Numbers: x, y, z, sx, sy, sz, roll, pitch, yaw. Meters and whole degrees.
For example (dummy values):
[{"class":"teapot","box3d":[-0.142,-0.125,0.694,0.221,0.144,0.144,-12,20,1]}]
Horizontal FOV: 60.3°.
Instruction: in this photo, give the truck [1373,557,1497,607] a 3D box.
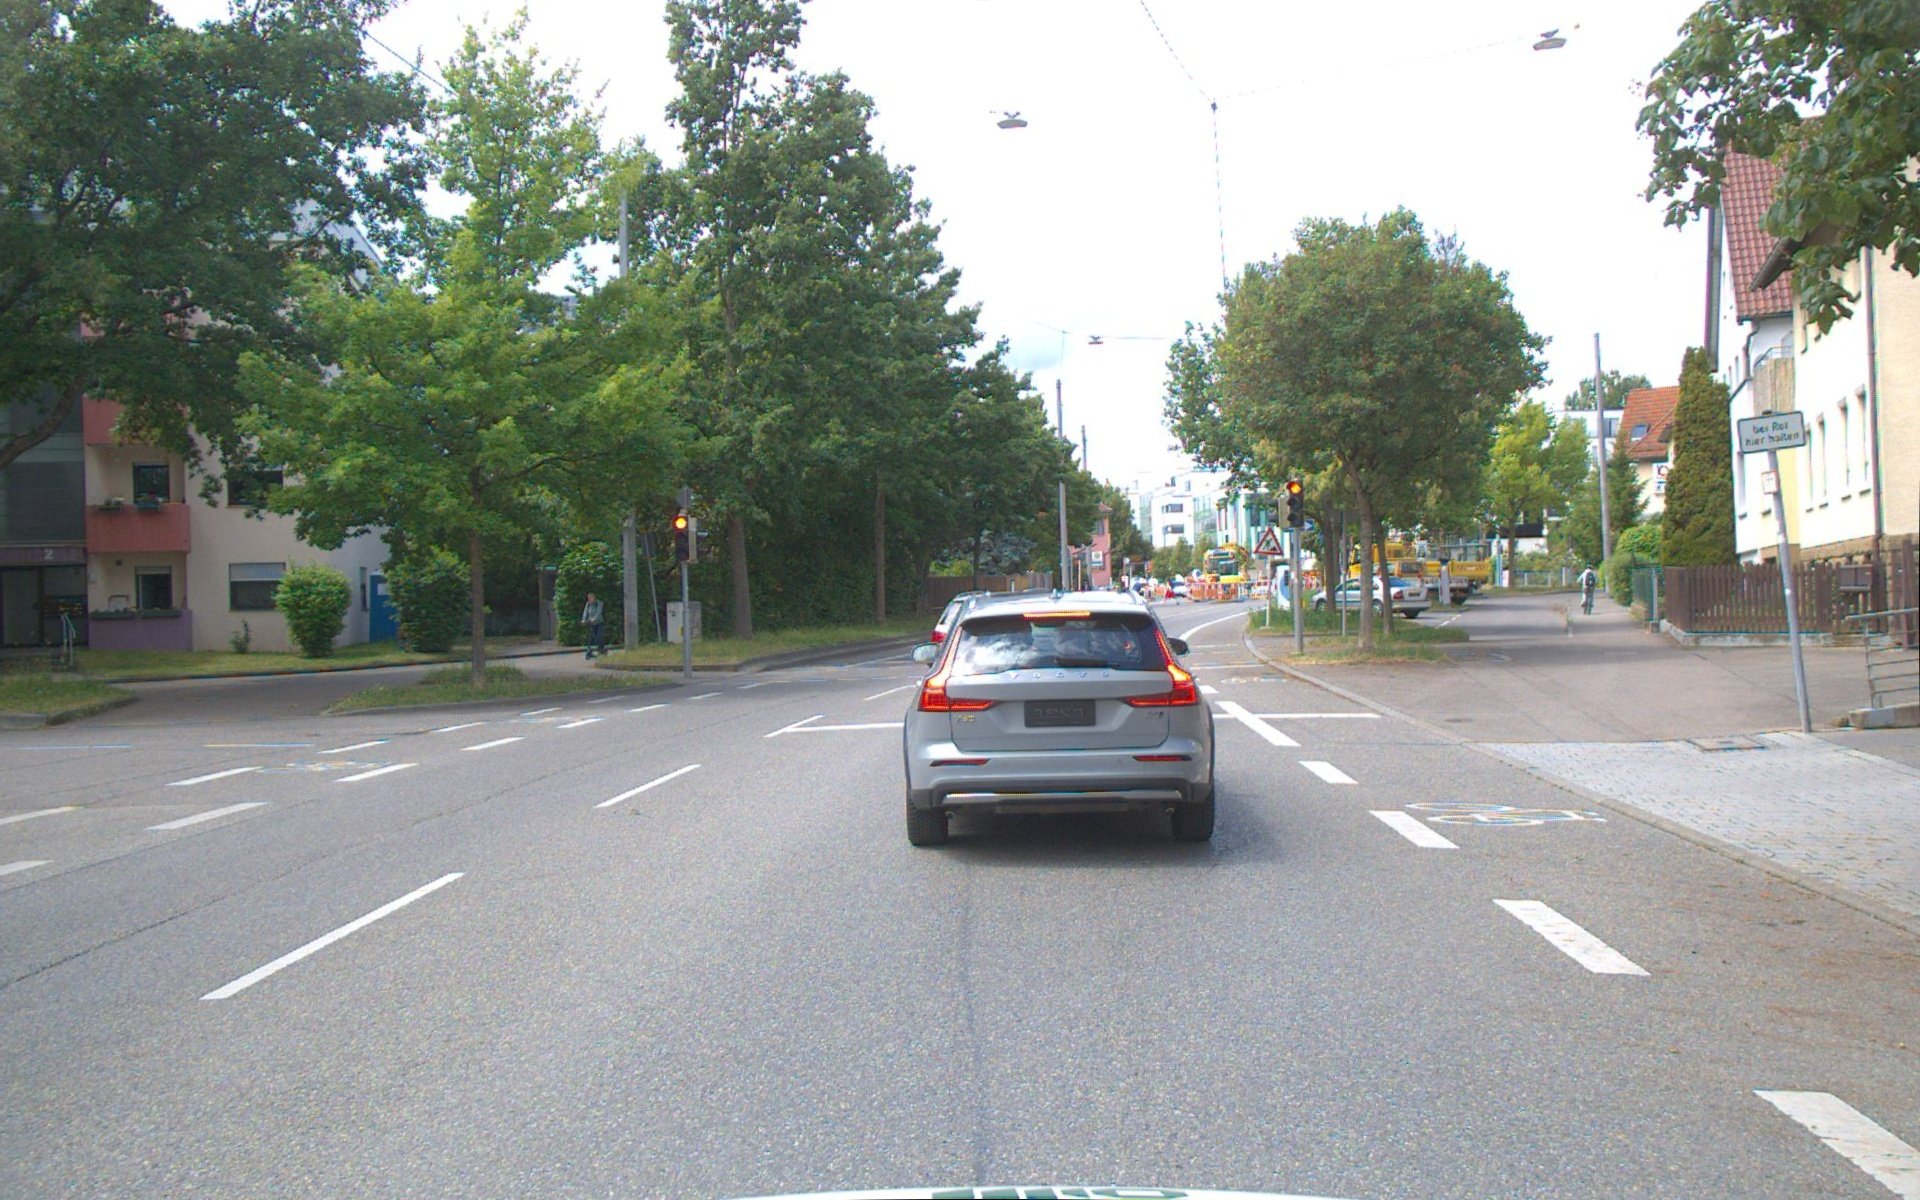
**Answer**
[{"class":"truck","box3d":[20.588,-0.749,71.586,5.547,2.049,2.064,0,-1,-34]}]

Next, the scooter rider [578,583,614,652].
[{"class":"scooter rider","box3d":[-9.401,0.459,42.687,0.699,1.758,0.671,0,-1,-36]}]

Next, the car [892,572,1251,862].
[{"class":"car","box3d":[0.750,0.614,11.117,1.915,1.550,4.331,-1,1,4]}]

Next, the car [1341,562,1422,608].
[{"class":"car","box3d":[19.541,-0.664,76.571,3.729,2.049,1.719,0,-1,-38]}]

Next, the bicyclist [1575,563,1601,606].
[{"class":"bicyclist","box3d":[20.947,-0.504,55.143,0.761,1.424,0.702,-1,-1,19]}]

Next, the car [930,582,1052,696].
[{"class":"car","box3d":[0.423,0.609,26.832,1.768,1.644,4.328,2,-1,-1]}]

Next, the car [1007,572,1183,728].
[{"class":"car","box3d":[1.521,0.495,19.140,1.766,1.550,4.331,2,1,4]}]

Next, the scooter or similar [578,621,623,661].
[{"class":"scooter or similar","box3d":[-9.288,1.053,42.750,0.945,0.978,0.681,-1,-1,-37]}]

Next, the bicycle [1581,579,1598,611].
[{"class":"bicycle","box3d":[21.026,-0.149,55.290,0.452,1.053,2.764,-1,-1,20]}]
